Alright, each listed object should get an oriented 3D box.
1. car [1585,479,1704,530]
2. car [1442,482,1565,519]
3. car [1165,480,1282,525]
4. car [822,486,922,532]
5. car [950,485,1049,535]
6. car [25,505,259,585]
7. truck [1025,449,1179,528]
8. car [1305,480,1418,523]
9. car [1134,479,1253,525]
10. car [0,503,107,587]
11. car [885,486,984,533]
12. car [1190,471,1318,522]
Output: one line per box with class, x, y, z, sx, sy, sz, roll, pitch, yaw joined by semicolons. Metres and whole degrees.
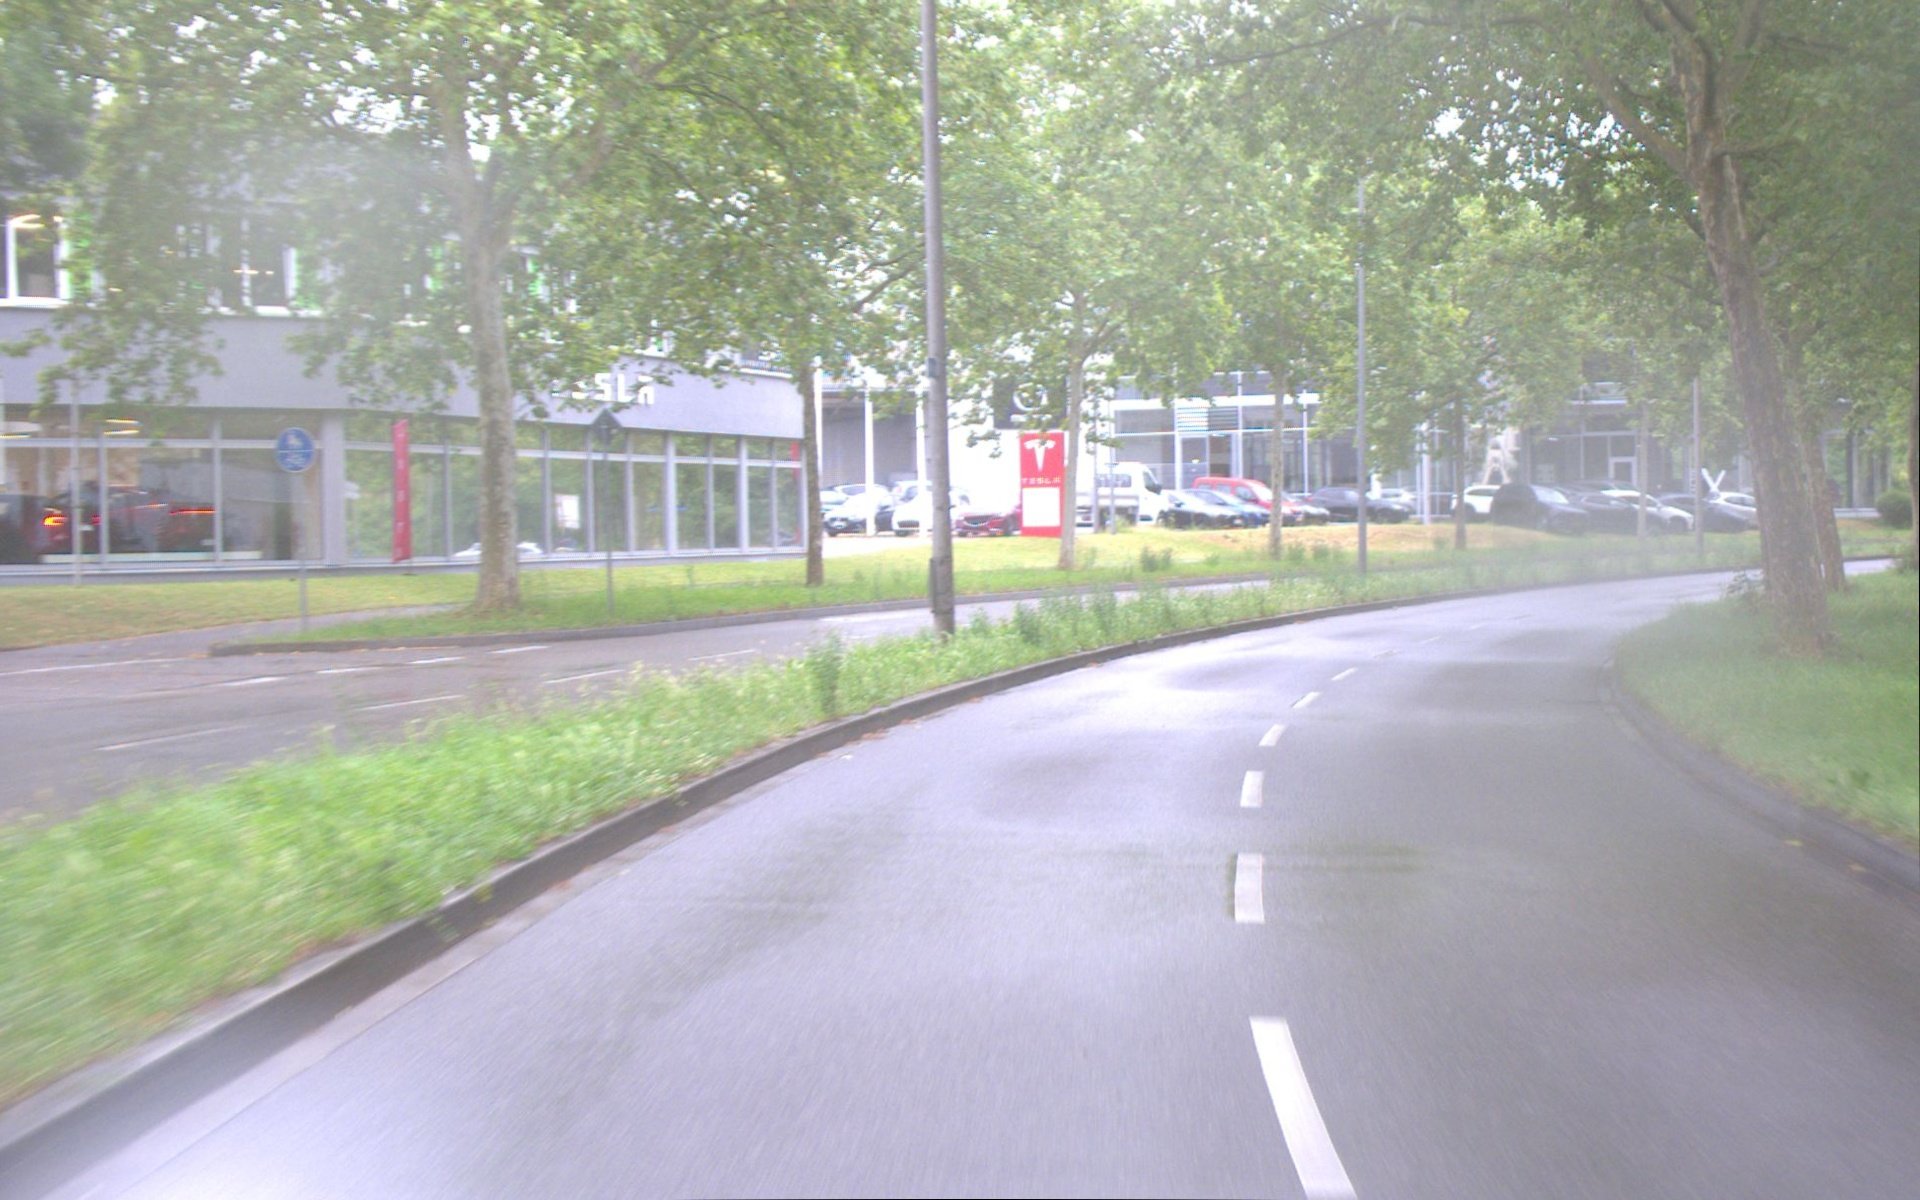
car;27.210;-3.803;136.719;4.115;1.473;1.849;5;7;-9
car;21.639;-3.976;136.913;4.428;1.468;1.917;1;2;28
car;8.973;-3.325;117.214;3.529;1.322;1.766;4;5;30
car;-2.934;-3.086;115.706;1.765;1.392;4.152;2;4;24
car;1.325;-2.957;112.794;1.765;1.462;4.152;2;4;24
car;-15.531;-1.049;65.278;4.196;1.489;1.596;0;1;24
truck;4.657;-3.658;111.717;2.251;2.336;6.184;4;5;31
car;15.006;-3.688;128.381;3.998;1.352;1.847;3;4;12
car;7.833;-3.308;115.226;3.529;1.322;1.766;4;5;30
car;-17.687;-1.005;62.374;4.196;1.489;1.596;0;1;24
car;-0.822;-3.046;114.645;1.765;1.392;4.152;2;4;24
car;10.229;-3.609;119.620;4.003;1.551;1.845;4;5;30
